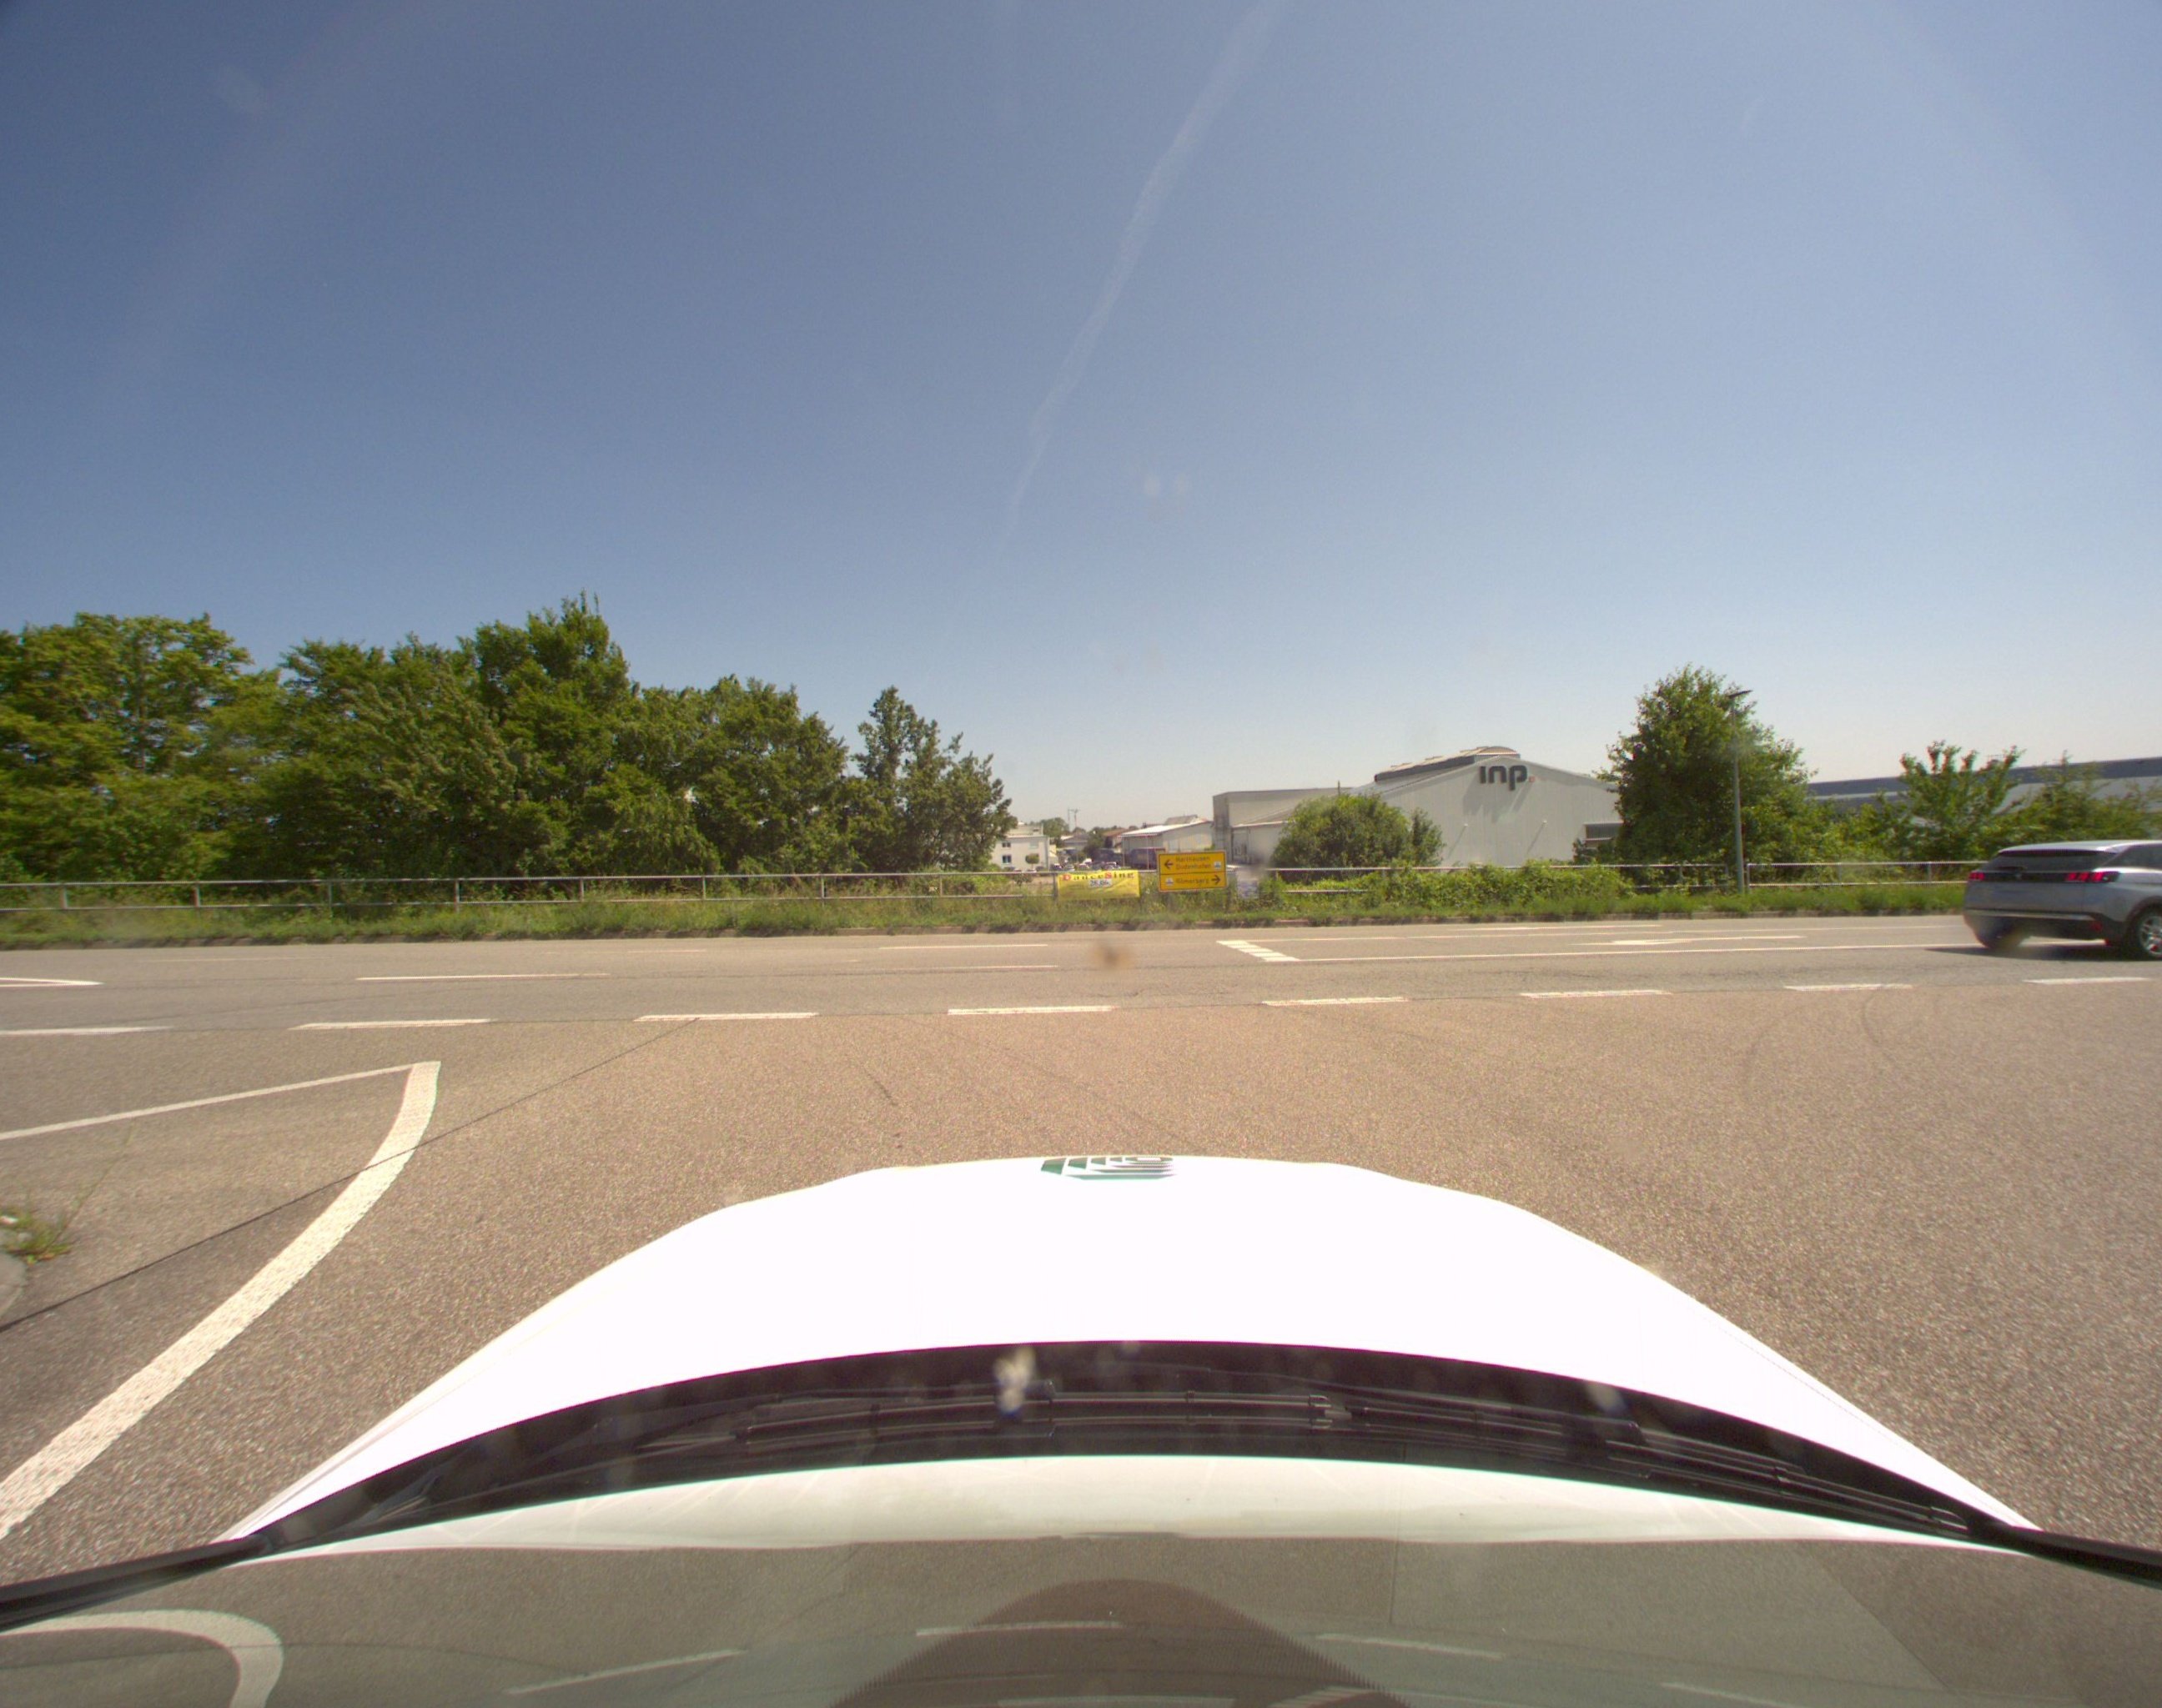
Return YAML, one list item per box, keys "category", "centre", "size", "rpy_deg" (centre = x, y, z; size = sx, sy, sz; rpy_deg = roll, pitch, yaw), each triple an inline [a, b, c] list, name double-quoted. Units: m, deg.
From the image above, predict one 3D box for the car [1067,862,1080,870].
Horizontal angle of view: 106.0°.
- category: "car"
  centre: [-1.664, 2.575, 174.902]
  size: [1.994, 1.731, 4.846]
  rpy_deg: [-1, 0, -10]

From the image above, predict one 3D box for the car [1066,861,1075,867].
- category: "car"
  centre: [-2.380, 2.191, 183.465]
  size: [1.451, 1.350, 3.303]
  rpy_deg: [-1, 0, -11]

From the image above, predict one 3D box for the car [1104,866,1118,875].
- category: "car"
  centre: [5.212, 2.899, 141.070]
  size: [1.683, 1.363, 3.823]
  rpy_deg: [-4, 0, -10]

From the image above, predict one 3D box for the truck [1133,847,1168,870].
- category: "truck"
  centre: [13.369, 0.846, 158.375]
  size: [3.706, 4.311, 13.303]
  rpy_deg: [-1, 0, -8]

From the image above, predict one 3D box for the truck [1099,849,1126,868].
- category: "truck"
  centre: [7.322, 0.966, 192.253]
  size: [3.411, 4.311, 14.545]
  rpy_deg: [-1, 0, -9]

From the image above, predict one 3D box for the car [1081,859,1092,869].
- category: "car"
  centre: [1.313, 2.221, 181.199]
  size: [1.717, 2.013, 3.986]
  rpy_deg: [-1, 0, -10]

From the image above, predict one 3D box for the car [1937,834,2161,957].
- category: "car"
  centre: [15.269, 0.533, 11.634]
  size: [4.468, 1.583, 1.795]
  rpy_deg: [0, -1, -5]

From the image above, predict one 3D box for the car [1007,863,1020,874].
- category: "car"
  centre: [-12.707, 2.645, 153.453]
  size: [1.994, 2.013, 4.845]
  rpy_deg: [-1, 0, -11]
